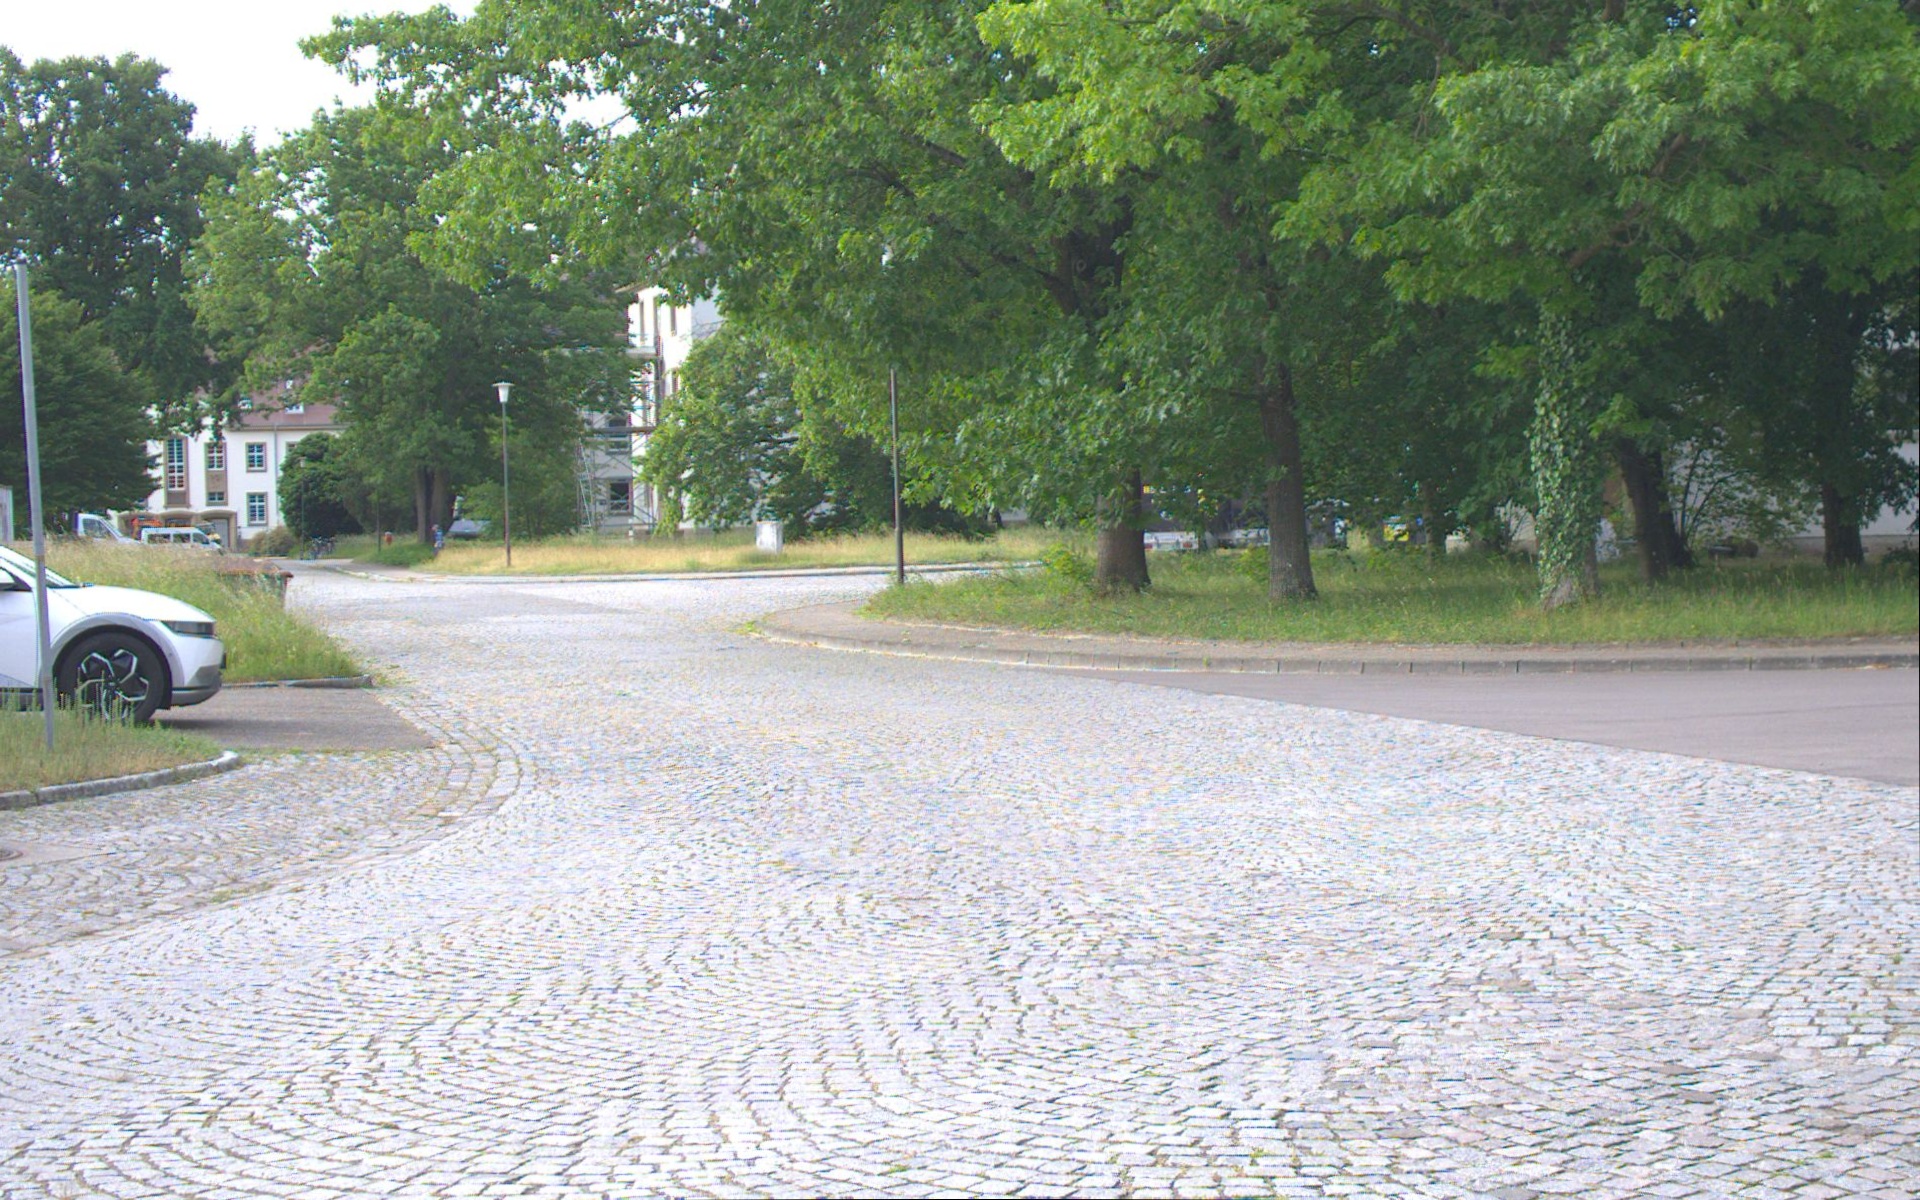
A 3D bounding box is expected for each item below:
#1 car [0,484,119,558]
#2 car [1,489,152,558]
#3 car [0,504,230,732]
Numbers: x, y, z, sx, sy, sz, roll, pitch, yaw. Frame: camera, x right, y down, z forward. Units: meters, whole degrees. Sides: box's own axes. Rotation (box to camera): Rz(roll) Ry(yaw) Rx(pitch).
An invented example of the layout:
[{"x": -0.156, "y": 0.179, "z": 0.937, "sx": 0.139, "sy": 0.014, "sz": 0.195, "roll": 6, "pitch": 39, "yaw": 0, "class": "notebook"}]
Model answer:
[{"x": -30.737, "y": -2.619, "z": 114.577, "sx": 5.169, "sy": 2.329, "sz": 2.001, "roll": -2, "pitch": 1, "yaw": -14, "class": "car"}, {"x": -31.862, "y": -2.772, "z": 124.141, "sx": 5.169, "sy": 2.329, "sz": 2.001, "roll": -2, "pitch": 1, "yaw": -14, "class": "car"}, {"x": -7.758, "y": 0.150, "z": 25.450, "sx": 4.533, "sy": 1.594, "sz": 2.001, "roll": -2, "pitch": 1, "yaw": -11, "class": "car"}]
